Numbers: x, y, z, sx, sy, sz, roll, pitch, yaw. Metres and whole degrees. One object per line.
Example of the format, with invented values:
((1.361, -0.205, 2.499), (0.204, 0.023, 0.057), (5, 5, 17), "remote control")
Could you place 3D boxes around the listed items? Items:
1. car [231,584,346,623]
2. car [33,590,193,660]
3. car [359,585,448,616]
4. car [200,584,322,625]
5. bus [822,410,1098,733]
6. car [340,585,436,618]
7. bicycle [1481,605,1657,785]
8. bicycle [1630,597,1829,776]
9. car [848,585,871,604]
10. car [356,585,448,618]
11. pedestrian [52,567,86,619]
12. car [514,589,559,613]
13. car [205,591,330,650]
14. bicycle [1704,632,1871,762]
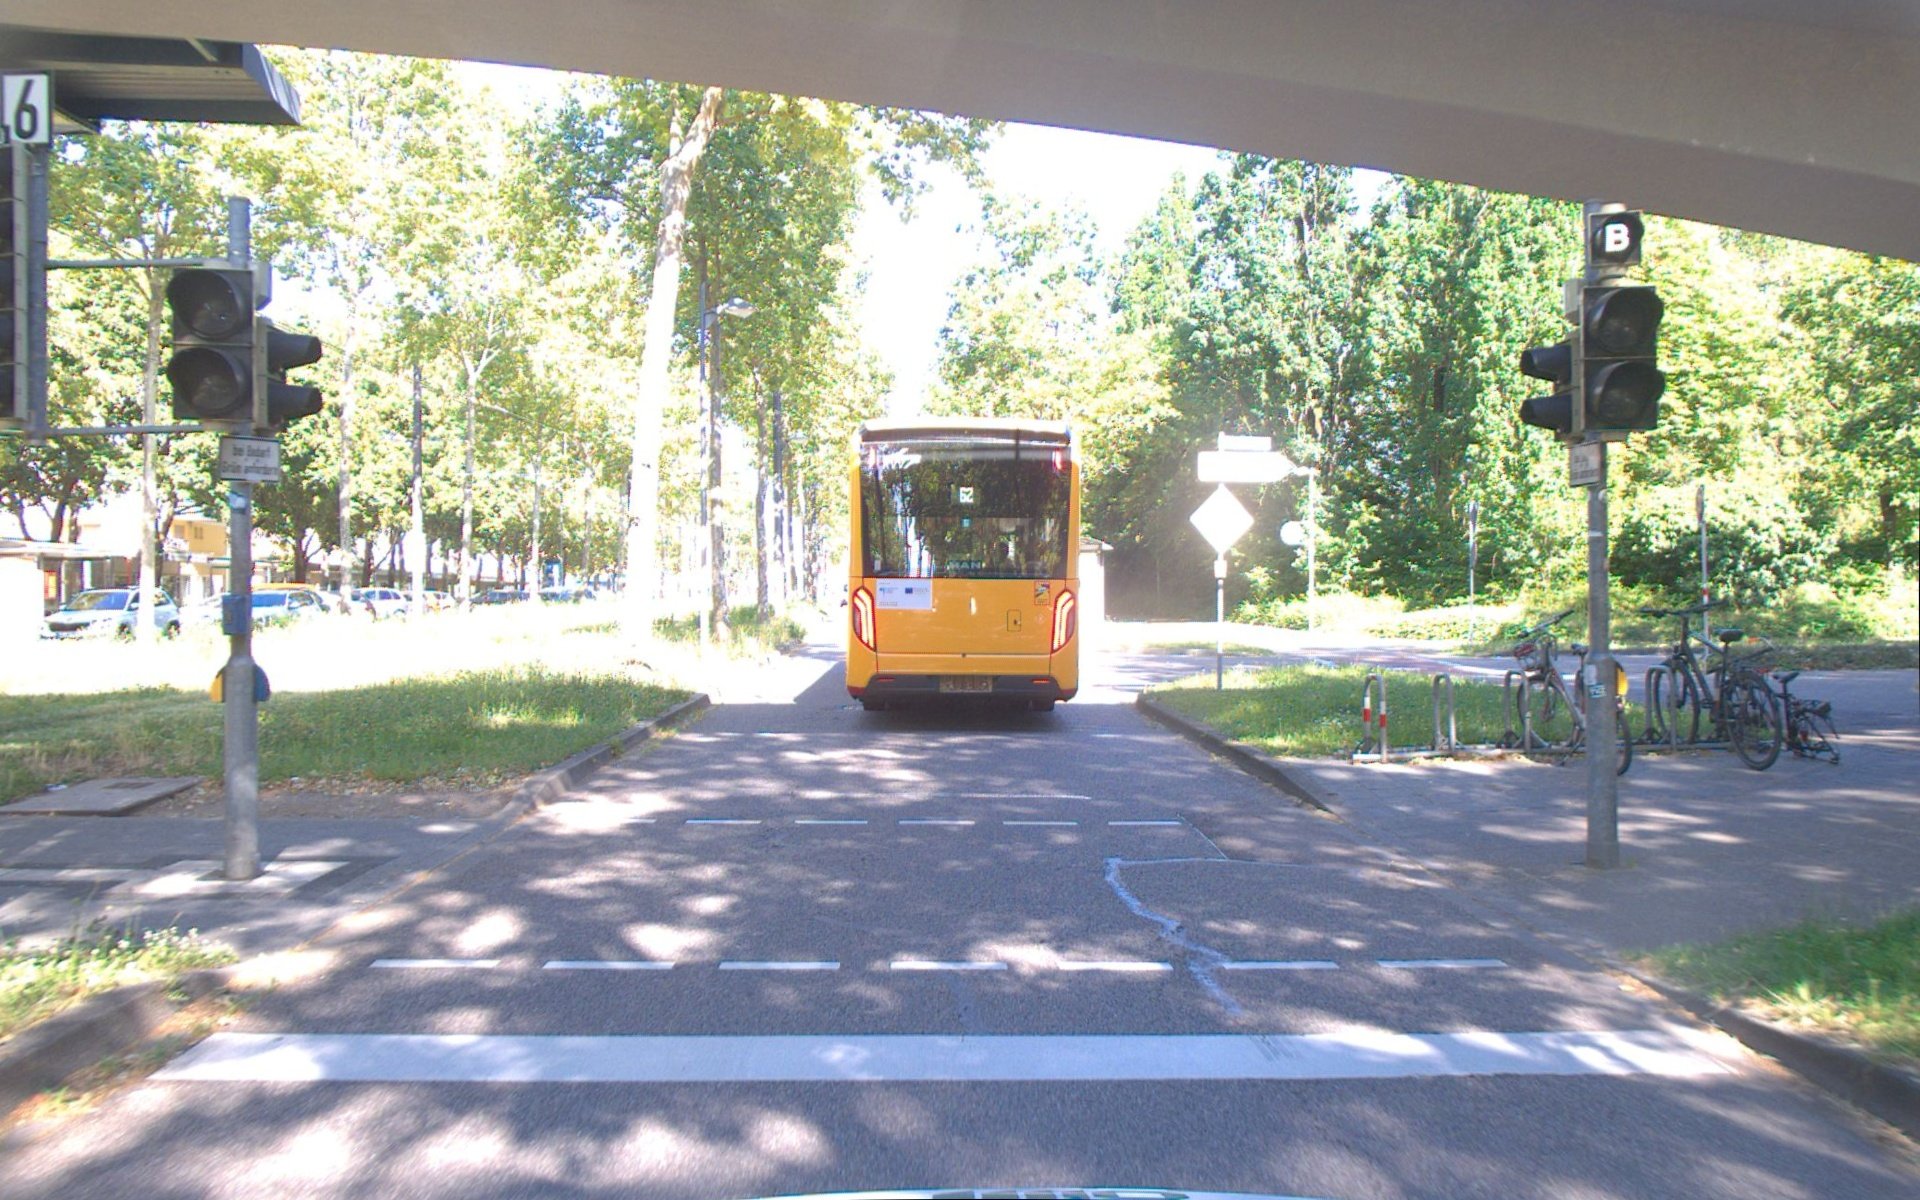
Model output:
((-27.230, 0.123, 67.127), (1.768, 1.537, 3.976), (0, 0, 42), "car")
((-20.642, 0.564, 40.521), (1.758, 1.608, 4.287), (0, 0, -1), "car")
((-28.432, 0.034, 84.567), (1.768, 1.537, 3.976), (0, 0, 42), "car")
((-26.948, 0.163, 63.852), (1.768, 1.537, 3.976), (0, 0, 42), "car")
((-0.205, -0.337, 23.187), (2.841, 3.324, 12.213), (0, 0, -2), "bus")
((-26.999, 0.058, 78.114), (1.768, 1.537, 3.976), (0, 0, 42), "car")
((4.637, 0.682, 12.712), (0.578, 1.203, 1.799), (-3, 1, -2), "bicycle")
((5.840, 0.611, 12.666), (0.578, 1.203, 1.799), (-3, 1, -2), "bicycle")
((-9.801, -0.579, 161.743), (1.946, 1.672, 4.134), (2, 1, 0), "car")
((-27.525, 0.055, 81.608), (1.768, 1.537, 3.976), (0, 0, 42), "car")
((-26.013, -0.200, 48.286), (0.635, 1.485, 0.650), (0, 0, 0), "pedestrian")
((-27.362, 0.044, 106.999), (1.757, 1.536, 4.001), (0, 0, 2), "car")
((-19.270, 0.528, 46.227), (1.758, 1.536, 4.672), (0, 0, -3), "car")
((6.437, 0.729, 12.938), (0.495, 0.867, 1.473), (-3, 1, -2), "bicycle")
